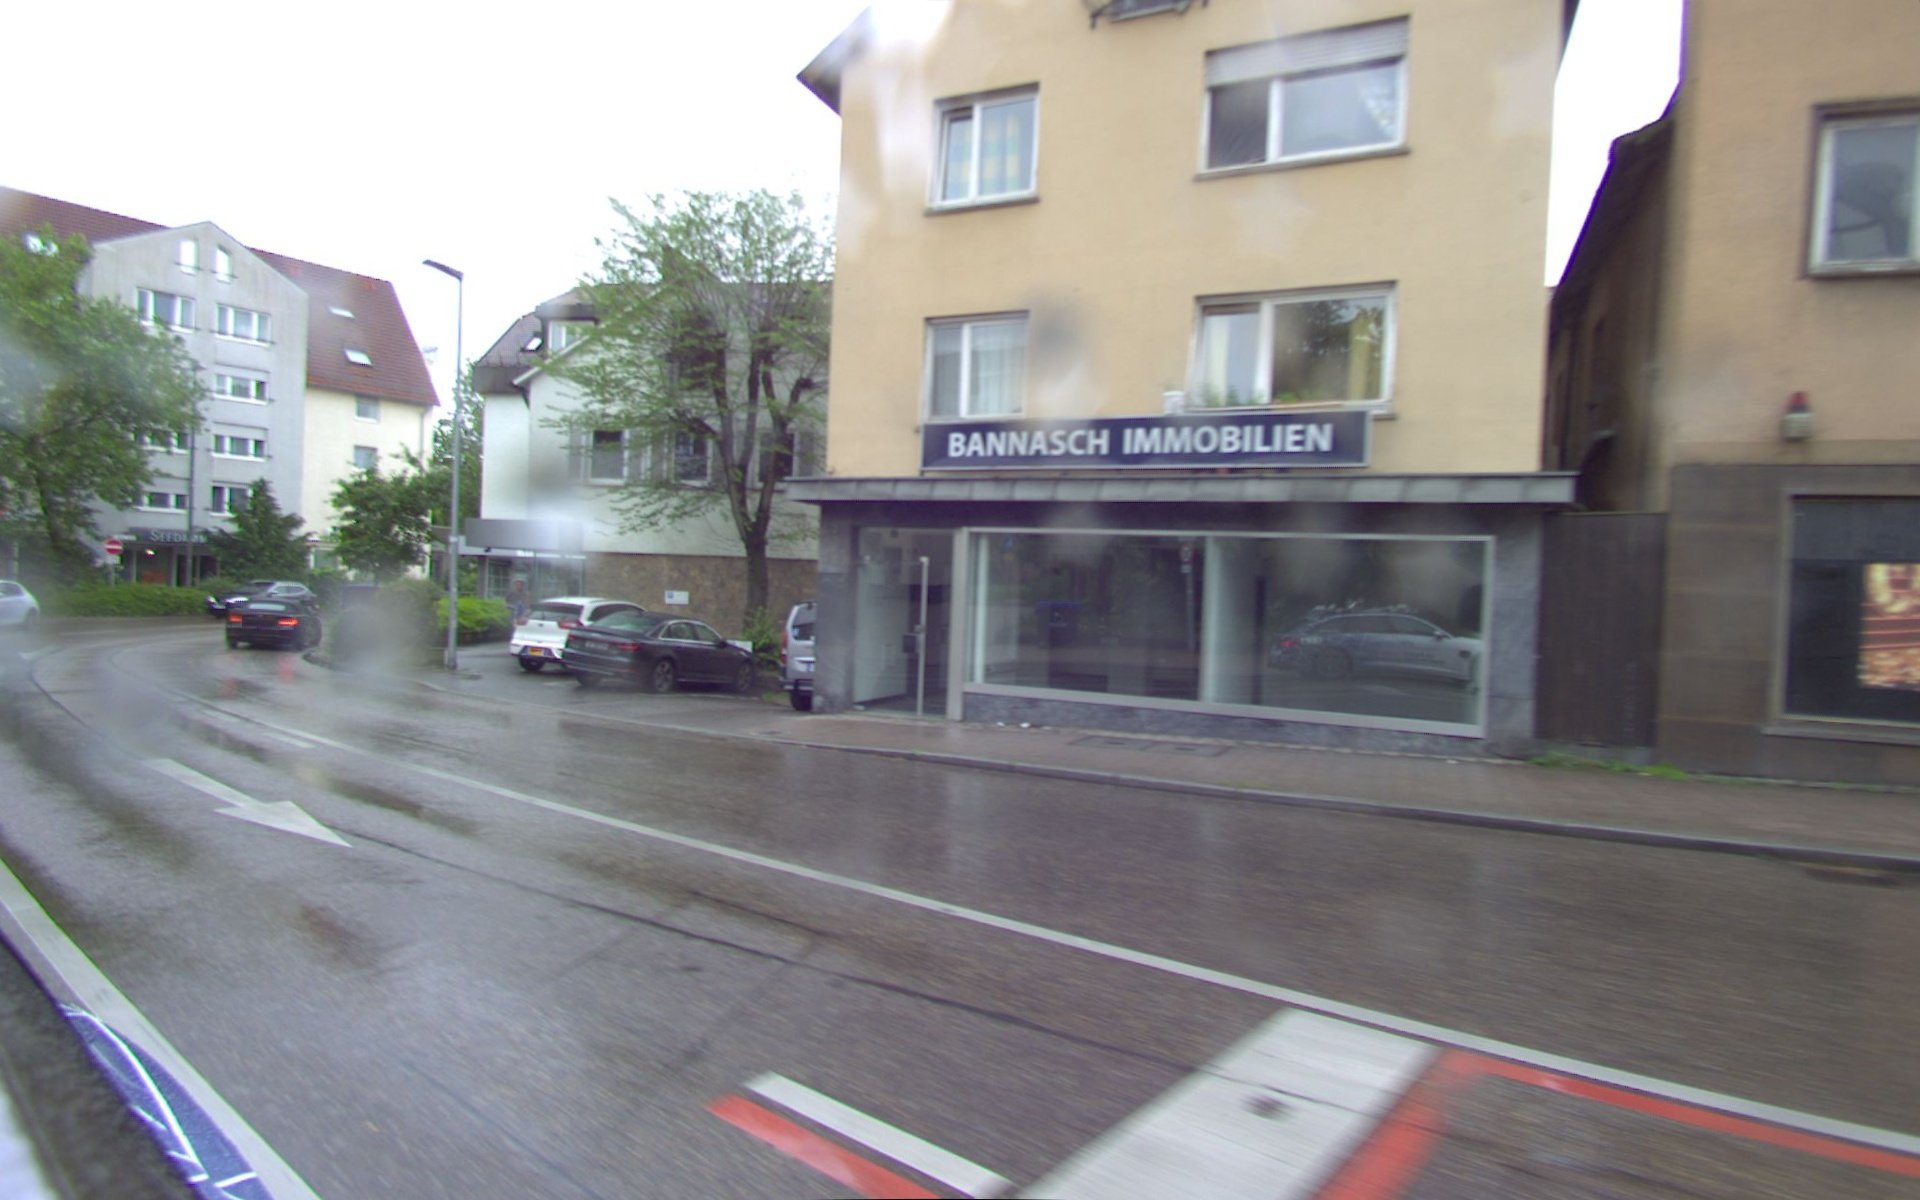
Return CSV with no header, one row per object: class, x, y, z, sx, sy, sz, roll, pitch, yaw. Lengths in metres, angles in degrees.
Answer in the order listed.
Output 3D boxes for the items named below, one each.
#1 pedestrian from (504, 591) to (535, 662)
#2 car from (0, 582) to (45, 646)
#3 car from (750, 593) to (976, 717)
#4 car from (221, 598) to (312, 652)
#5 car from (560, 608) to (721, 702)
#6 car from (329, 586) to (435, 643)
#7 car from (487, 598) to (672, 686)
pedestrian,-10.222,0.601,23.464,0.536,1.587,0.658,-2,2,-30
car,-27.133,0.400,27.552,1.783,1.576,4.014,5,2,-19
car,-1.511,1.106,18.078,1.949,1.839,4.897,0,-7,22
car,-19.661,0.727,28.833,1.835,1.398,4.275,2,-3,-31
car,-5.903,0.948,19.208,1.872,1.464,4.002,2,0,-2
car,-22.102,0.625,38.907,1.968,1.896,4.385,2,-4,-8
car,-8.012,0.849,21.672,1.981,1.641,3.629,2,-1,14
